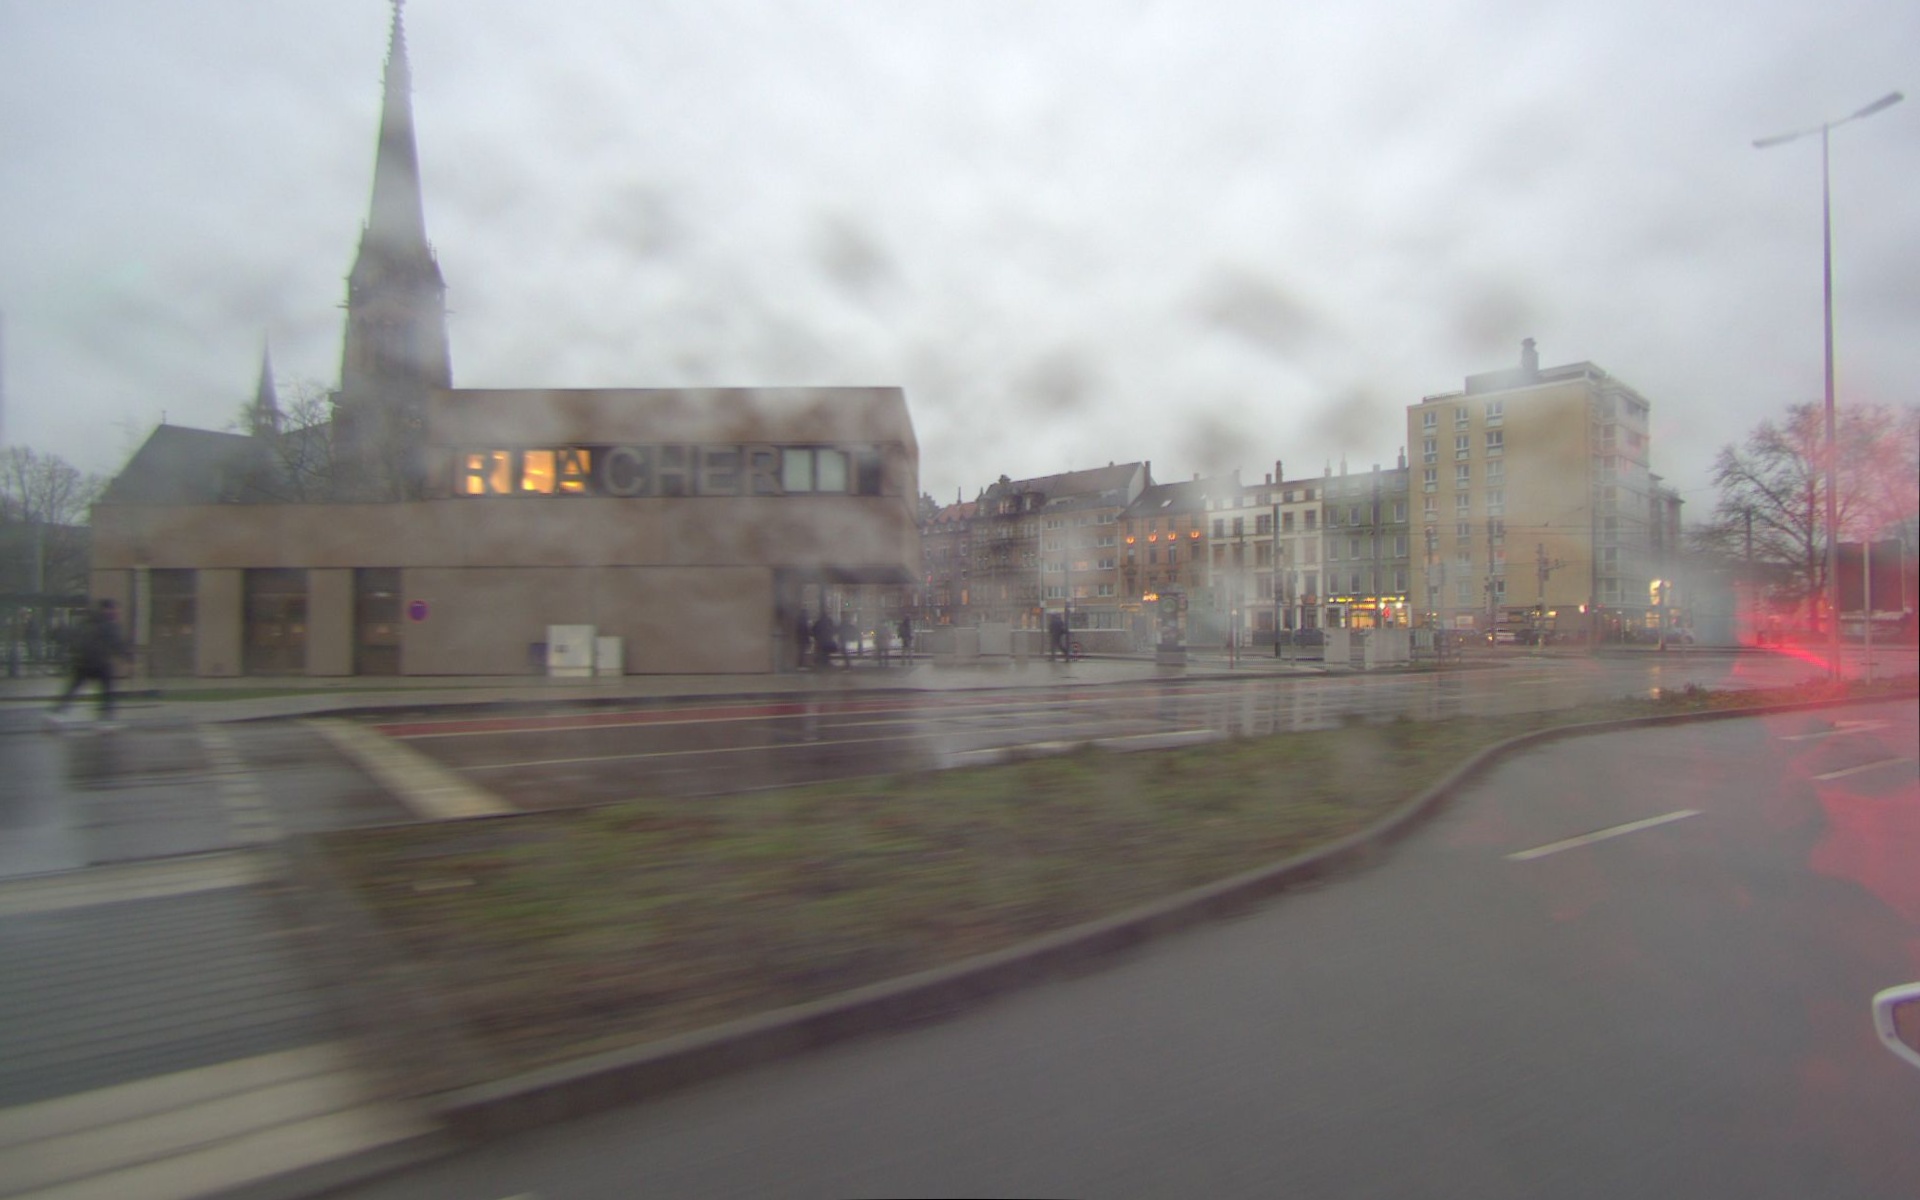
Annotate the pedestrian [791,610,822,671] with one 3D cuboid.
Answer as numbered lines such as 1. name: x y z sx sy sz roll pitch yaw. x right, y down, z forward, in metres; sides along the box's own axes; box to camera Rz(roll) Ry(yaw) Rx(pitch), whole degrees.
1. pedestrian: -4.467 1.180 29.178 0.733 1.749 0.739 0 -2 -21

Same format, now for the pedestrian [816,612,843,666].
1. pedestrian: -4.263 1.275 32.751 0.733 1.749 0.739 0 -2 -21

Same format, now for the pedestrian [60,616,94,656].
1. pedestrian: -41.966 1.711 47.750 0.834 1.874 1.032 -2 -3 35

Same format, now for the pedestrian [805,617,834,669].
1. pedestrian: -4.748 1.449 33.897 0.736 1.749 0.736 1 -2 -33

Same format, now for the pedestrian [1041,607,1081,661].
1. pedestrian: 3.656 1.232 36.439 1.105 1.944 1.059 0 -2 -17

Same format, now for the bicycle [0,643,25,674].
1. bicycle: -34.187 2.022 34.622 3.131 1.063 0.795 0 -2 -1

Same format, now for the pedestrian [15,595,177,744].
1. pedestrian: -11.561 0.900 13.494 1.210 1.883 1.035 -2 0 -1

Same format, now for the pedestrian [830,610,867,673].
1. pedestrian: -3.206 1.196 28.916 0.653 1.791 0.828 -2 -2 44

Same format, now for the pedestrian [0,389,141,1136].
1. pedestrian: -3.137 0.457 2.879 1.098 2.032 0.840 -2 0 -35

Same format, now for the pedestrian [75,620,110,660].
1. pedestrian: -41.040 1.891 47.520 0.834 1.874 1.032 -2 -3 35

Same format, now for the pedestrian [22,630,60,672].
1. pedestrian: -42.927 2.376 46.914 0.834 1.874 1.047 -4 1 34

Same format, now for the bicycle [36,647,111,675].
1. bicycle: -28.208 1.946 31.987 1.827 0.883 0.607 0 -2 0

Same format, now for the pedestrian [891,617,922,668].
1. pedestrian: -1.873 1.502 35.340 0.790 1.774 0.758 -2 -2 43

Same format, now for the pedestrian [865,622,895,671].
1. pedestrian: -2.693 1.577 33.996 0.946 1.624 0.856 -1 -2 0

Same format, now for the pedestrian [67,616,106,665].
1. pedestrian: -31.469 1.446 36.178 0.834 1.704 0.813 1 4 35
